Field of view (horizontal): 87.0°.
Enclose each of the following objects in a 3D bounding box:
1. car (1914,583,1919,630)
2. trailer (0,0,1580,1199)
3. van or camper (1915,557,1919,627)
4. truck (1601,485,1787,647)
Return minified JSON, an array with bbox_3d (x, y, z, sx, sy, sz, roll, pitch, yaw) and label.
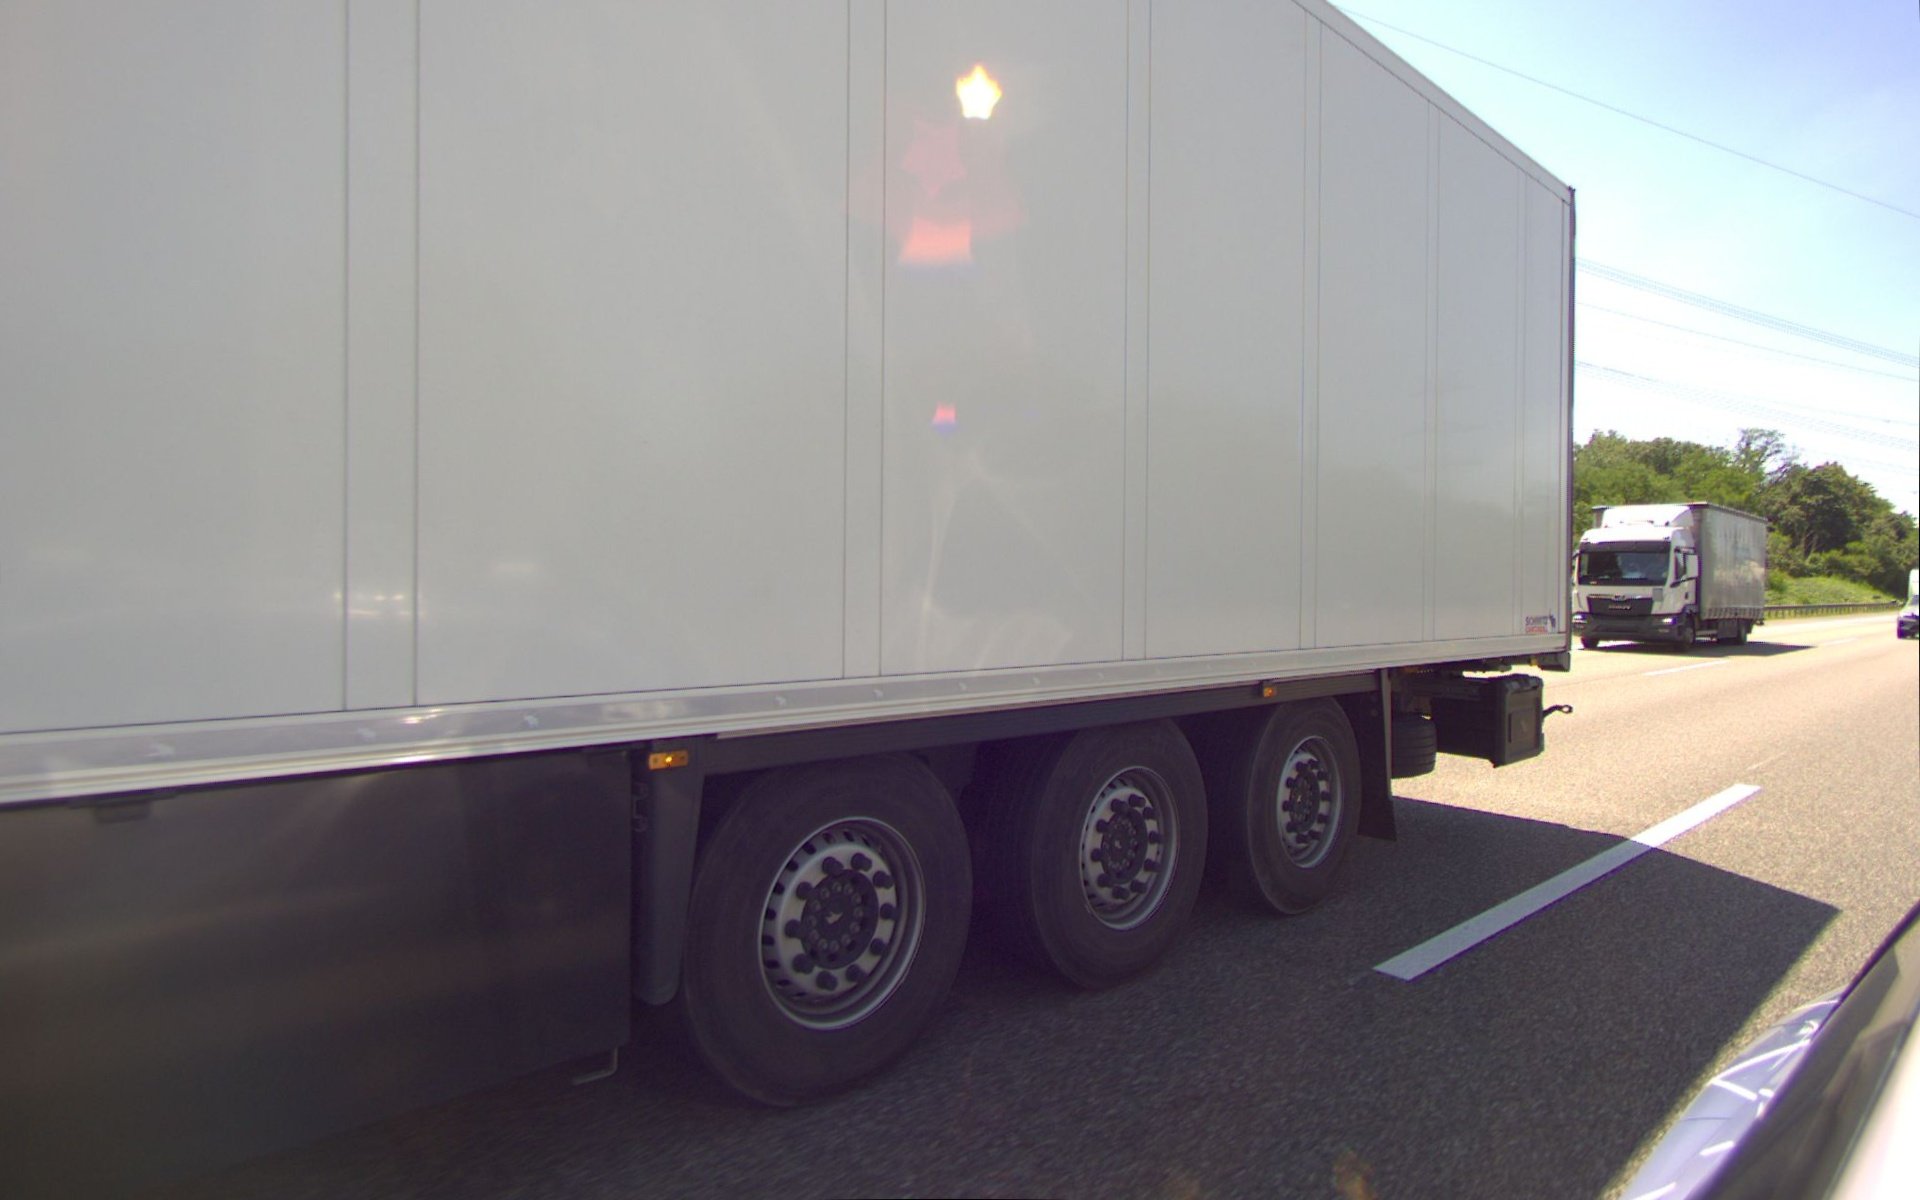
[{"bbox_3d":[33.924,0.231,34.406,4.033,1.548,1.786,0,1,-41],"label":"car"},{"bbox_3d":[-3.138,-0.658,2.057,15.919,4.068,2.942,-1,1,-41],"label":"trailer"},{"bbox_3d":[37.806,-0.291,37.854,6.320,2.528,2.410,0,1,-41],"label":"van or camper"},{"bbox_3d":[20.451,-0.843,27.892,9.868,3.819,1.986,0,1,-41],"label":"truck"}]
